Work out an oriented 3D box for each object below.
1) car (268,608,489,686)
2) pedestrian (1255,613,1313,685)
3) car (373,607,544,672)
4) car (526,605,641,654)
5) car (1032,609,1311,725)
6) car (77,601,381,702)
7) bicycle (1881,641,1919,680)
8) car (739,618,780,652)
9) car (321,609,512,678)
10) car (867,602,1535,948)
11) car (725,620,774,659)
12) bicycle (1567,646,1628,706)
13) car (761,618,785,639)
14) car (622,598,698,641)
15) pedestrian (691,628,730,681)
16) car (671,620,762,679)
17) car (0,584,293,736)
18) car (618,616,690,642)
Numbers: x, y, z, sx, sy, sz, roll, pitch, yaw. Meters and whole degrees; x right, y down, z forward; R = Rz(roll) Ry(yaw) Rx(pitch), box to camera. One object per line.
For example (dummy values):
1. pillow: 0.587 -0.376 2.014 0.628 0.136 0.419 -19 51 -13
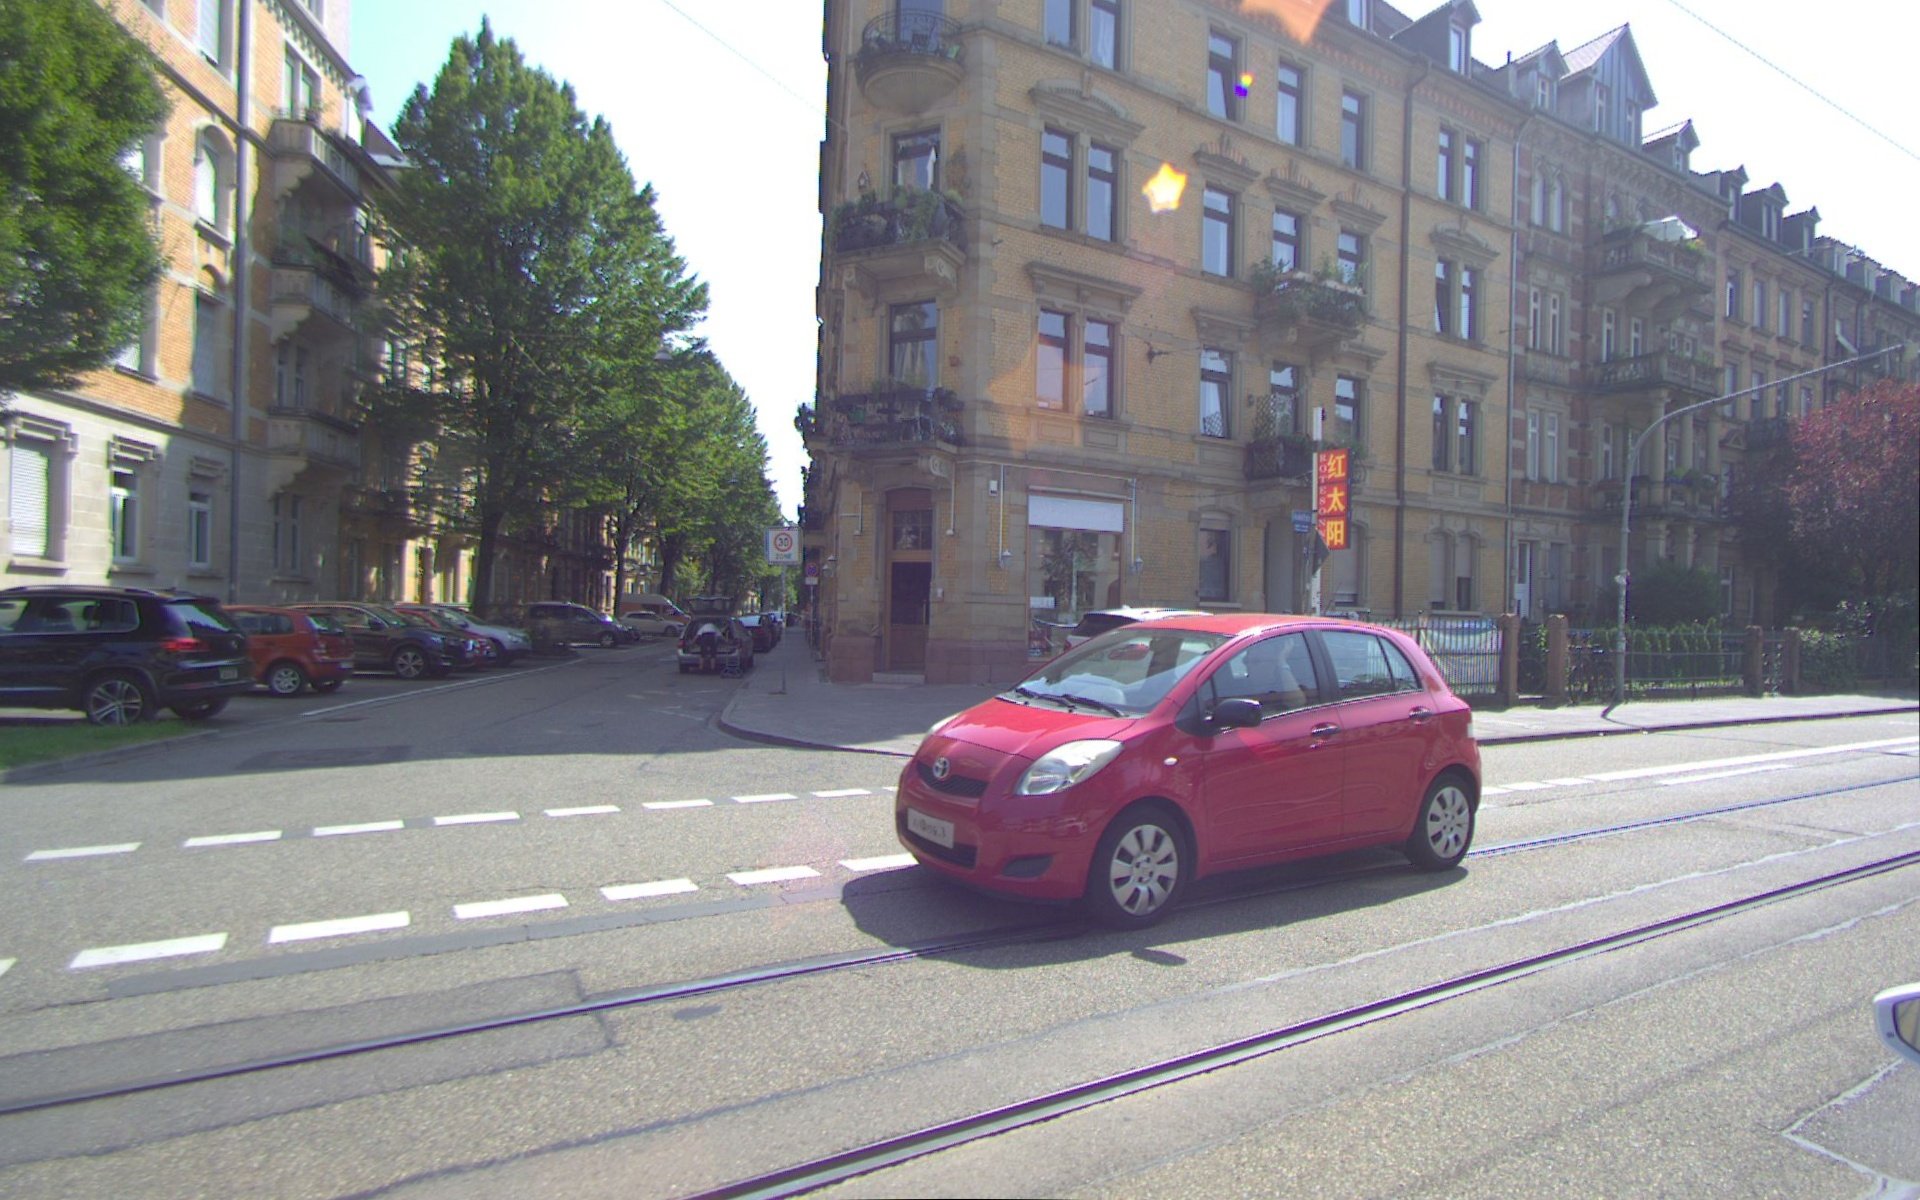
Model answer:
1. car: -12.523 1.008 21.869 3.691 1.496 1.790 3 -1 -9
2. pedestrian: 7.062 1.057 21.903 0.879 1.531 0.860 2 -1 -39
3. car: -13.489 1.065 27.232 3.691 1.563 1.790 3 -1 -9
4. car: -15.540 1.224 41.666 4.114 1.816 1.789 3 -1 -11
5. car: 3.465 1.012 16.164 4.315 1.615 1.981 2 -1 -35
6. car: -12.313 0.868 17.193 3.692 1.496 1.846 3 -1 -11
7. bicycle: 30.508 1.945 31.805 0.708 1.198 1.805 2 0 -28
8. car: -8.785 1.506 44.146 1.577 1.382 3.411 3 -1 -9
9. car: -13.288 1.064 24.765 3.691 1.496 1.790 3 -1 -9
10. car: 1.588 0.821 6.176 3.955 1.510 1.723 2 -1 -32
11. car: -8.144 1.494 39.123 1.597 1.382 3.592 3 -1 -9
12. bicycle: 12.272 1.446 19.323 1.552 1.113 0.388 1 0 -34
13. car: -12.737 1.905 68.522 1.474 1.327 3.326 3 -1 -9
14. car: -18.977 1.236 63.763 4.302 2.508 1.962 3 -1 -11
15. pedestrian: -6.112 1.322 24.651 0.786 1.243 0.583 2 -1 -5
16. car: -6.347 1.261 26.545 1.741 1.382 3.712 3 -1 -5
17. car: -11.046 0.692 12.307 4.281 1.711 1.997 1 -1 -10
18. car: -18.463 1.756 60.789 3.931 1.364 1.789 3 -1 -11
